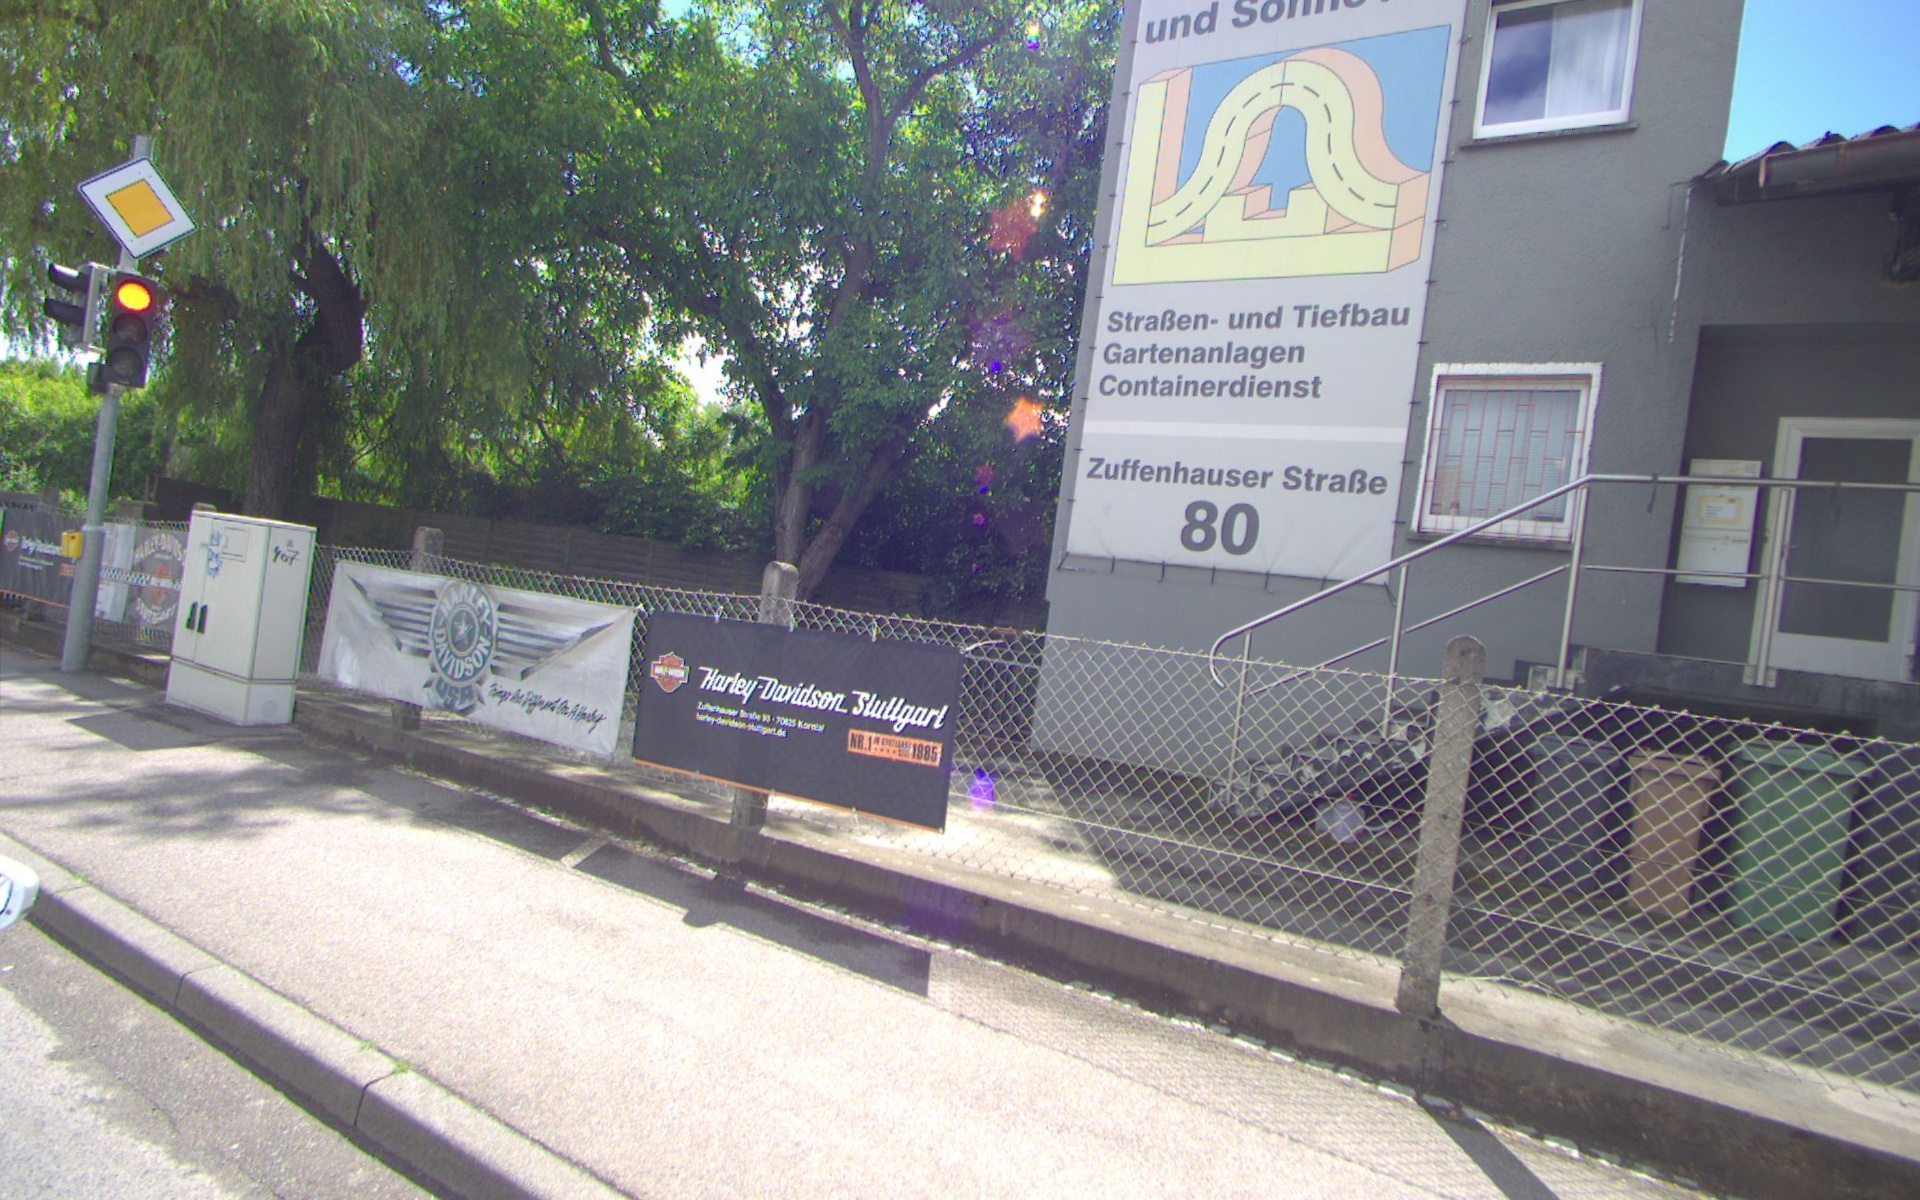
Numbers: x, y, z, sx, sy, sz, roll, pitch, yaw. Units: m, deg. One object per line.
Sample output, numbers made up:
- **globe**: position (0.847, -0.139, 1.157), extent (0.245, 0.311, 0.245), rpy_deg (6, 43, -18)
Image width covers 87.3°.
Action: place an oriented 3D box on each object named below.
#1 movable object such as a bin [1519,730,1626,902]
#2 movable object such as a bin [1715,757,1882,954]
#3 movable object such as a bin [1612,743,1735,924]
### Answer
- **movable object such as a bin**: position (3.813, 1.321, 6.291), extent (0.466, 0.941, 0.482), rpy_deg (7, -1, 30)
- **movable object such as a bin**: position (4.754, 1.424, 5.737), extent (0.574, 0.941, 0.482), rpy_deg (6, -1, 30)
- **movable object such as a bin**: position (4.258, 1.369, 6.028), extent (0.466, 0.941, 0.482), rpy_deg (7, -1, 30)
